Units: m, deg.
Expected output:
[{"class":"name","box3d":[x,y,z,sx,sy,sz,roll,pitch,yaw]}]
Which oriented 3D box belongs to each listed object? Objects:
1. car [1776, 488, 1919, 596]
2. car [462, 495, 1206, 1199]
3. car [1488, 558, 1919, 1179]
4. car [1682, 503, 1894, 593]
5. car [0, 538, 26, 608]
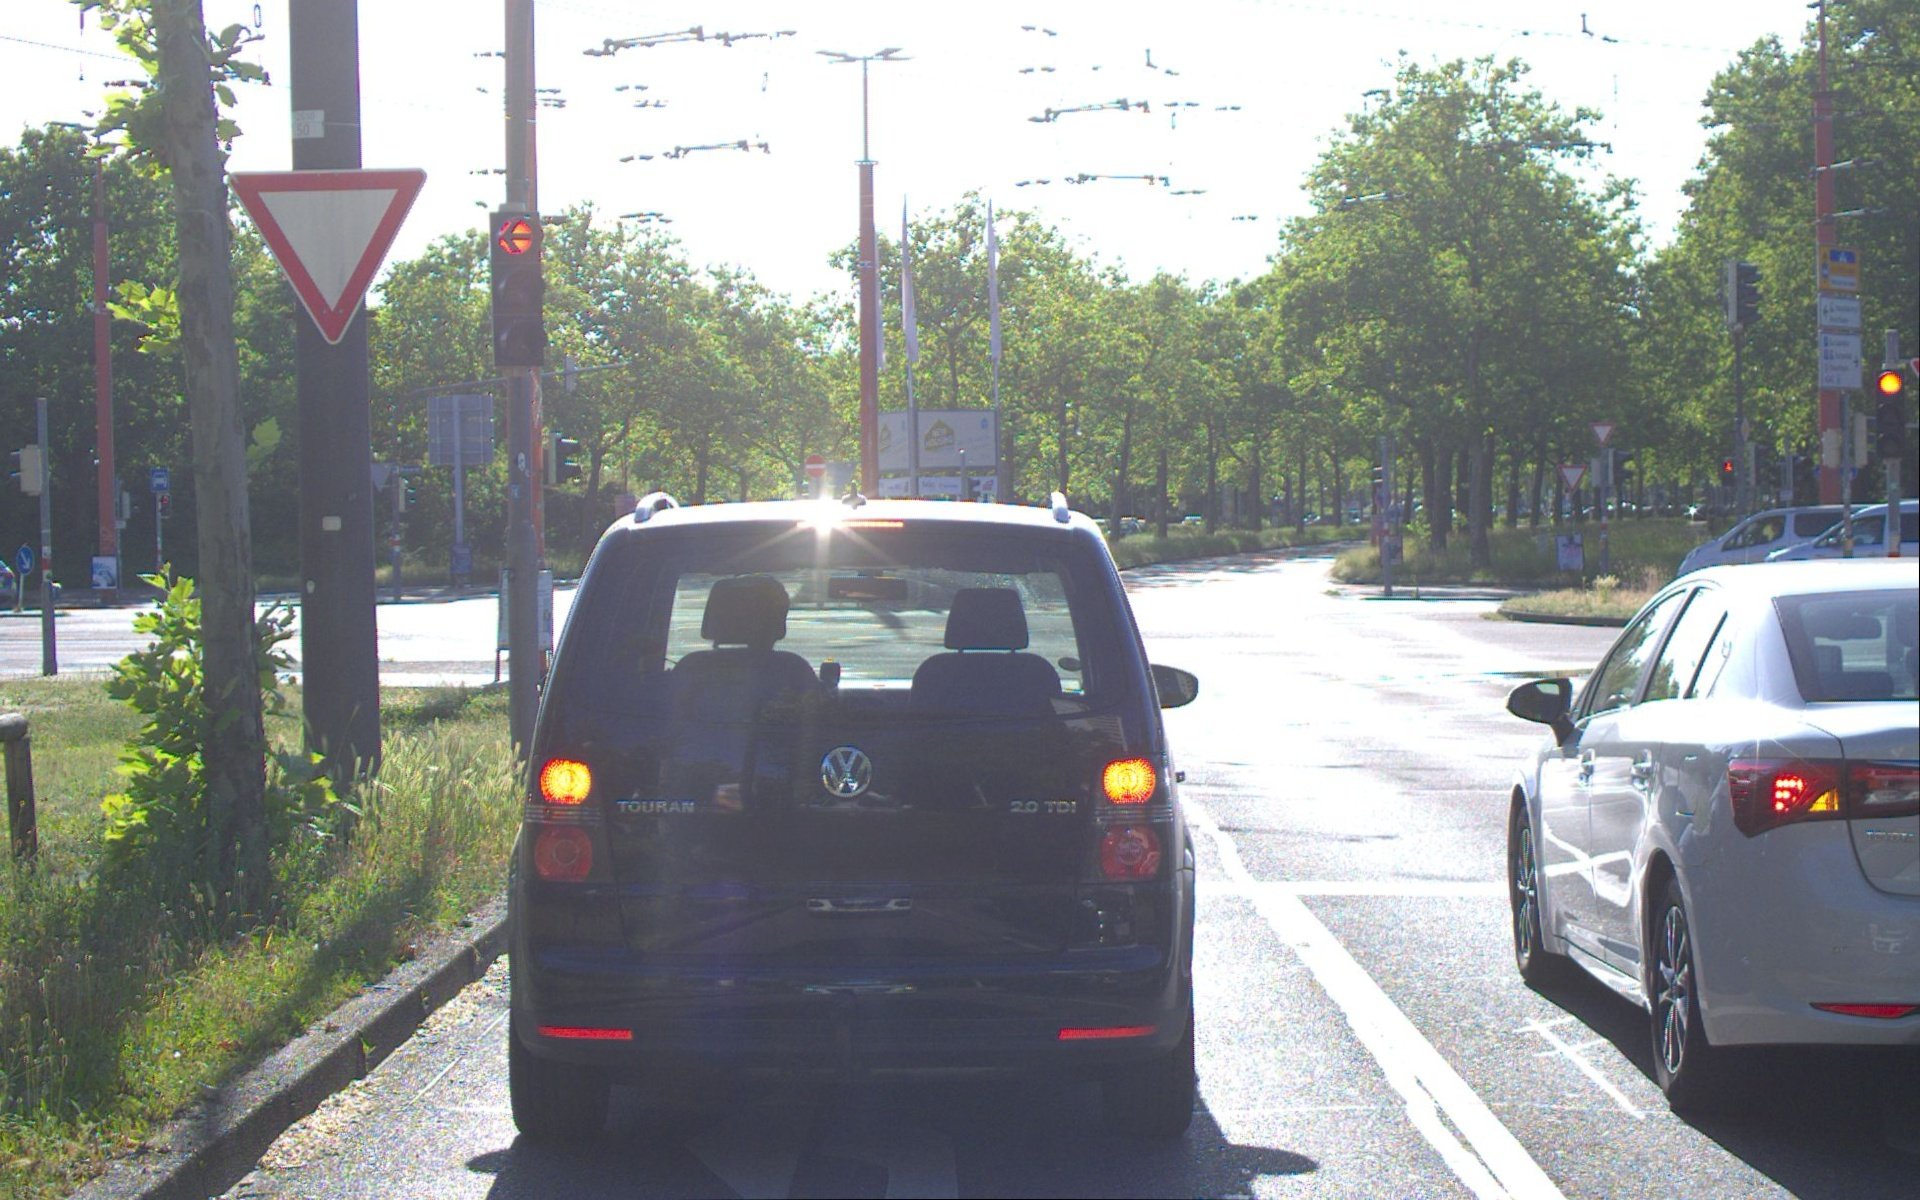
[{"class":"car","box3d":[16.772,-1.023,61.778,3.837,1.883,1.762,1,1,23]},{"class":"car","box3d":[-0.318,0.537,9.860,1.700,1.616,3.897,0,1,-1]},{"class":"car","box3d":[2.718,0.611,10.163,1.720,1.433,4.198,1,1,1]},{"class":"car","box3d":[15.852,-0.998,65.815,3.647,1.650,1.678,1,1,25]},{"class":"car","box3d":[-24.388,-0.650,82.419,4.110,1.650,1.799,1,1,40]}]
